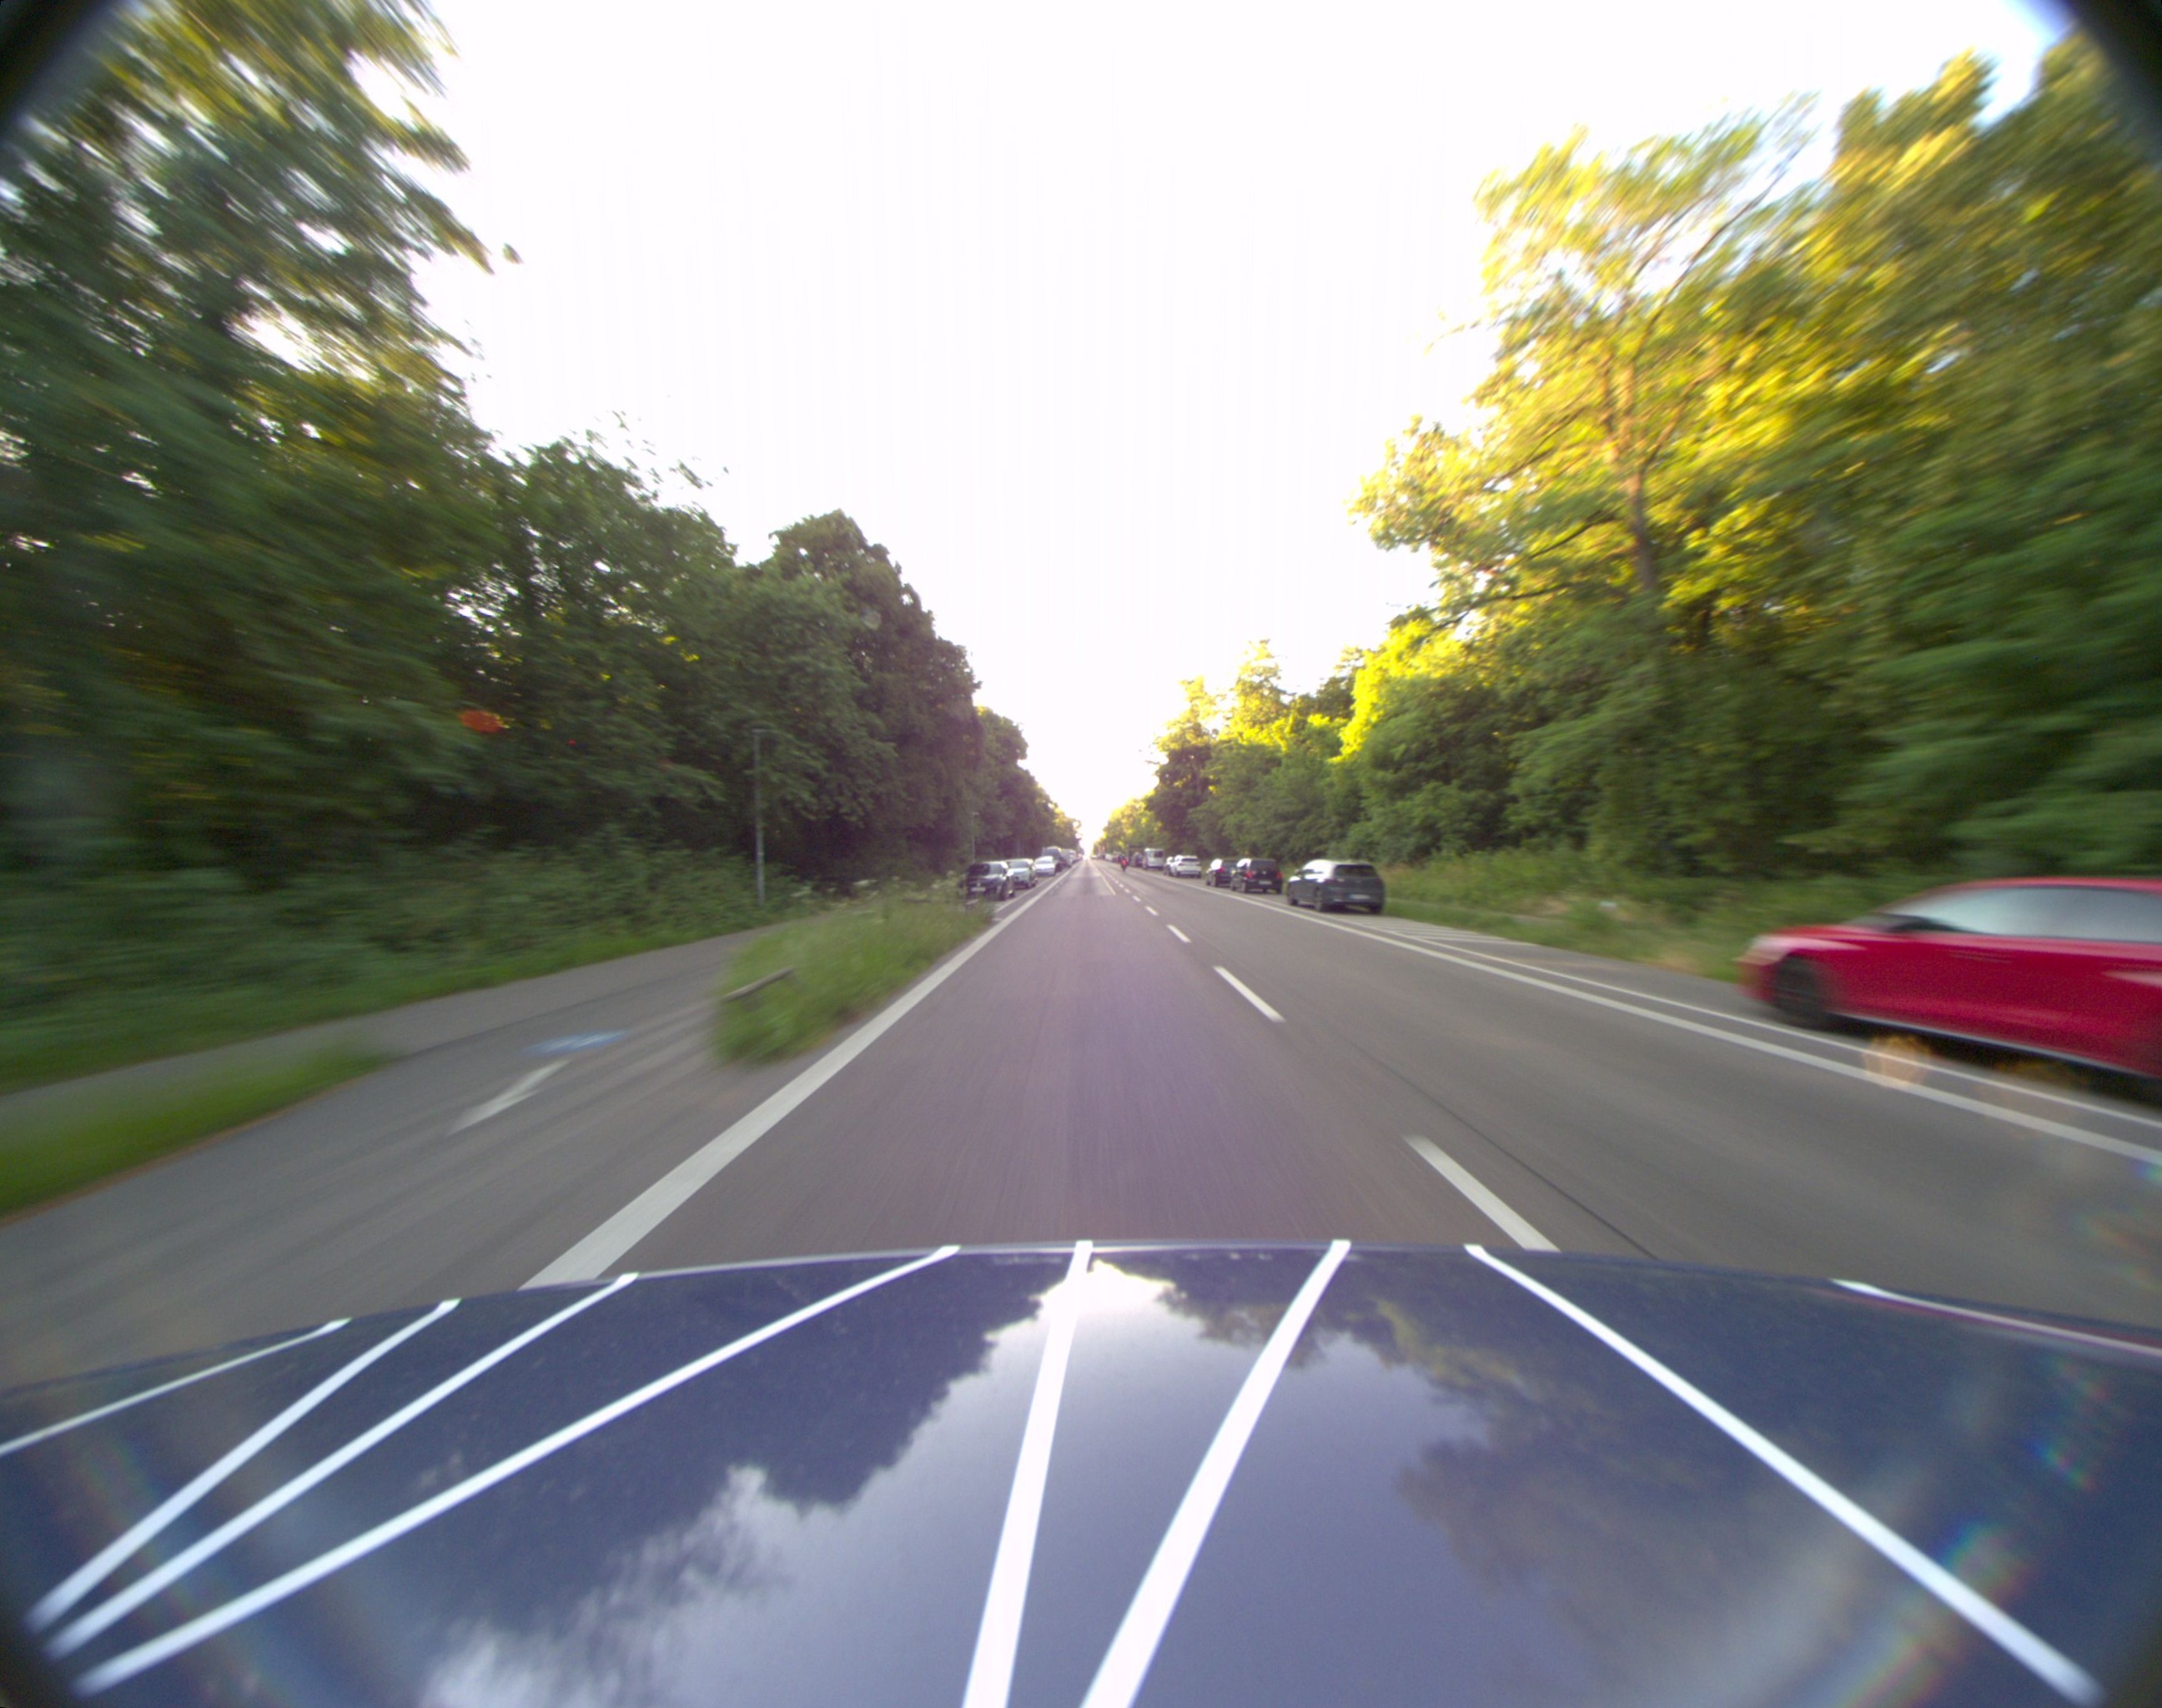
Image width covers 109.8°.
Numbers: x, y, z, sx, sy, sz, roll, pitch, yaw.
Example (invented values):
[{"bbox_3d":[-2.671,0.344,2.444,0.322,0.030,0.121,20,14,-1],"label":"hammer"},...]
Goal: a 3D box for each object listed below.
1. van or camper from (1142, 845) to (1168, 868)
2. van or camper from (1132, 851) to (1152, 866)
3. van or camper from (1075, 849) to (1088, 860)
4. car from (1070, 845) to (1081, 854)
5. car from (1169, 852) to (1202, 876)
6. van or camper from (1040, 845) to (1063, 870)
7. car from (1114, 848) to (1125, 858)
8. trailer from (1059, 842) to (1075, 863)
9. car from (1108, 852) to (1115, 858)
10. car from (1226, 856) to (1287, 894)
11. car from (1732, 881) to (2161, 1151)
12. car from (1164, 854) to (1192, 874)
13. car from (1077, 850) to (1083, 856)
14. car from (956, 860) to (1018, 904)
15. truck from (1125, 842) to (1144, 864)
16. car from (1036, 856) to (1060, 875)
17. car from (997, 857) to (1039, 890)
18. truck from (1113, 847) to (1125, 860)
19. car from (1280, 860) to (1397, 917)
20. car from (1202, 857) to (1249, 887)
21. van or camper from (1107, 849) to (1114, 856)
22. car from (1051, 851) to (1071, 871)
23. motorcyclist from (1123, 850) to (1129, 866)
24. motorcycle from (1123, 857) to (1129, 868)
[{"bbox_3d":[8.062,0.222,83.183,2.116,2.376,6.380,2,0,-1],"label":"van or camper"},{"bbox_3d":[8.198,0.594,102.808,2.034,1.945,4.691,3,0,-2],"label":"van or camper"},{"bbox_3d":[0.067,0.116,185.353,3.015,2.704,6.960,0,0,1],"label":"van or camper"},{"bbox_3d":[-1.413,-1.117,194.846,2.537,2.270,5.554,0,0,1],"label":"car"},{"bbox_3d":[7.584,0.696,55.676,1.699,1.636,4.572,1,0,-1],"label":"car"},{"bbox_3d":[-3.059,0.394,79.735,2.132,2.526,6.061,-2,-1,0],"label":"van or camper"},{"bbox_3d":[7.967,-0.289,157.922,1.852,1.948,3.935,3,0,-1],"label":"car"},{"bbox_3d":[-1.881,-0.236,102.615,1.866,2.633,4.269,-2,1,0],"label":"trailer"},{"bbox_3d":[9.659,0.222,239.128,1.998,1.893,4.000,-2,1,1],"label":"car"},{"bbox_3d":[7.407,0.838,32.382,1.716,1.500,3.656,1,0,0],"label":"car"},{"bbox_3d":[7.096,0.992,5.133,1.720,1.422,4.388,0,0,2],"label":"car"},{"bbox_3d":[7.774,0.756,61.010,1.676,1.511,3.735,1,0,-1],"label":"car"},{"bbox_3d":[-0.334,-0.317,246.960,1.844,2.007,4.197,0,0,1],"label":"car"},{"bbox_3d":[-3.455,0.999,28.487,1.715,1.436,4.122,-2,0,1],"label":"car"},{"bbox_3d":[8.197,-0.114,116.169,2.226,3.188,6.270,3,0,-1],"label":"truck"},{"bbox_3d":[-2.687,0.922,62.031,1.848,1.485,4.758,-2,0,-2],"label":"car"},{"bbox_3d":[-3.136,0.934,38.532,1.693,1.537,4.112,0,0,1],"label":"car"},{"bbox_3d":[9.293,-0.156,187.833,2.654,3.039,5.800,-2,1,1],"label":"truck"},{"bbox_3d":[7.337,0.925,22.121,1.850,1.454,4.228,1,0,-2],"label":"car"},{"bbox_3d":[7.240,0.883,38.440,1.601,1.386,4.051,0,0,0],"label":"car"},{"bbox_3d":[8.798,-0.433,225.891,1.844,1.965,4.197,0,0,1],"label":"van or camper"},{"bbox_3d":[-1.935,0.683,73.167,1.856,1.754,4.723,-2,0,-2],"label":"car"},{"bbox_3d":[4.464,0.401,76.009,0.605,1.520,0.995,0,1,3],"label":"motorcyclist"},{"bbox_3d":[4.493,0.832,76.132,0.612,1.120,1.962,0,0,3],"label":"motorcycle"}]
